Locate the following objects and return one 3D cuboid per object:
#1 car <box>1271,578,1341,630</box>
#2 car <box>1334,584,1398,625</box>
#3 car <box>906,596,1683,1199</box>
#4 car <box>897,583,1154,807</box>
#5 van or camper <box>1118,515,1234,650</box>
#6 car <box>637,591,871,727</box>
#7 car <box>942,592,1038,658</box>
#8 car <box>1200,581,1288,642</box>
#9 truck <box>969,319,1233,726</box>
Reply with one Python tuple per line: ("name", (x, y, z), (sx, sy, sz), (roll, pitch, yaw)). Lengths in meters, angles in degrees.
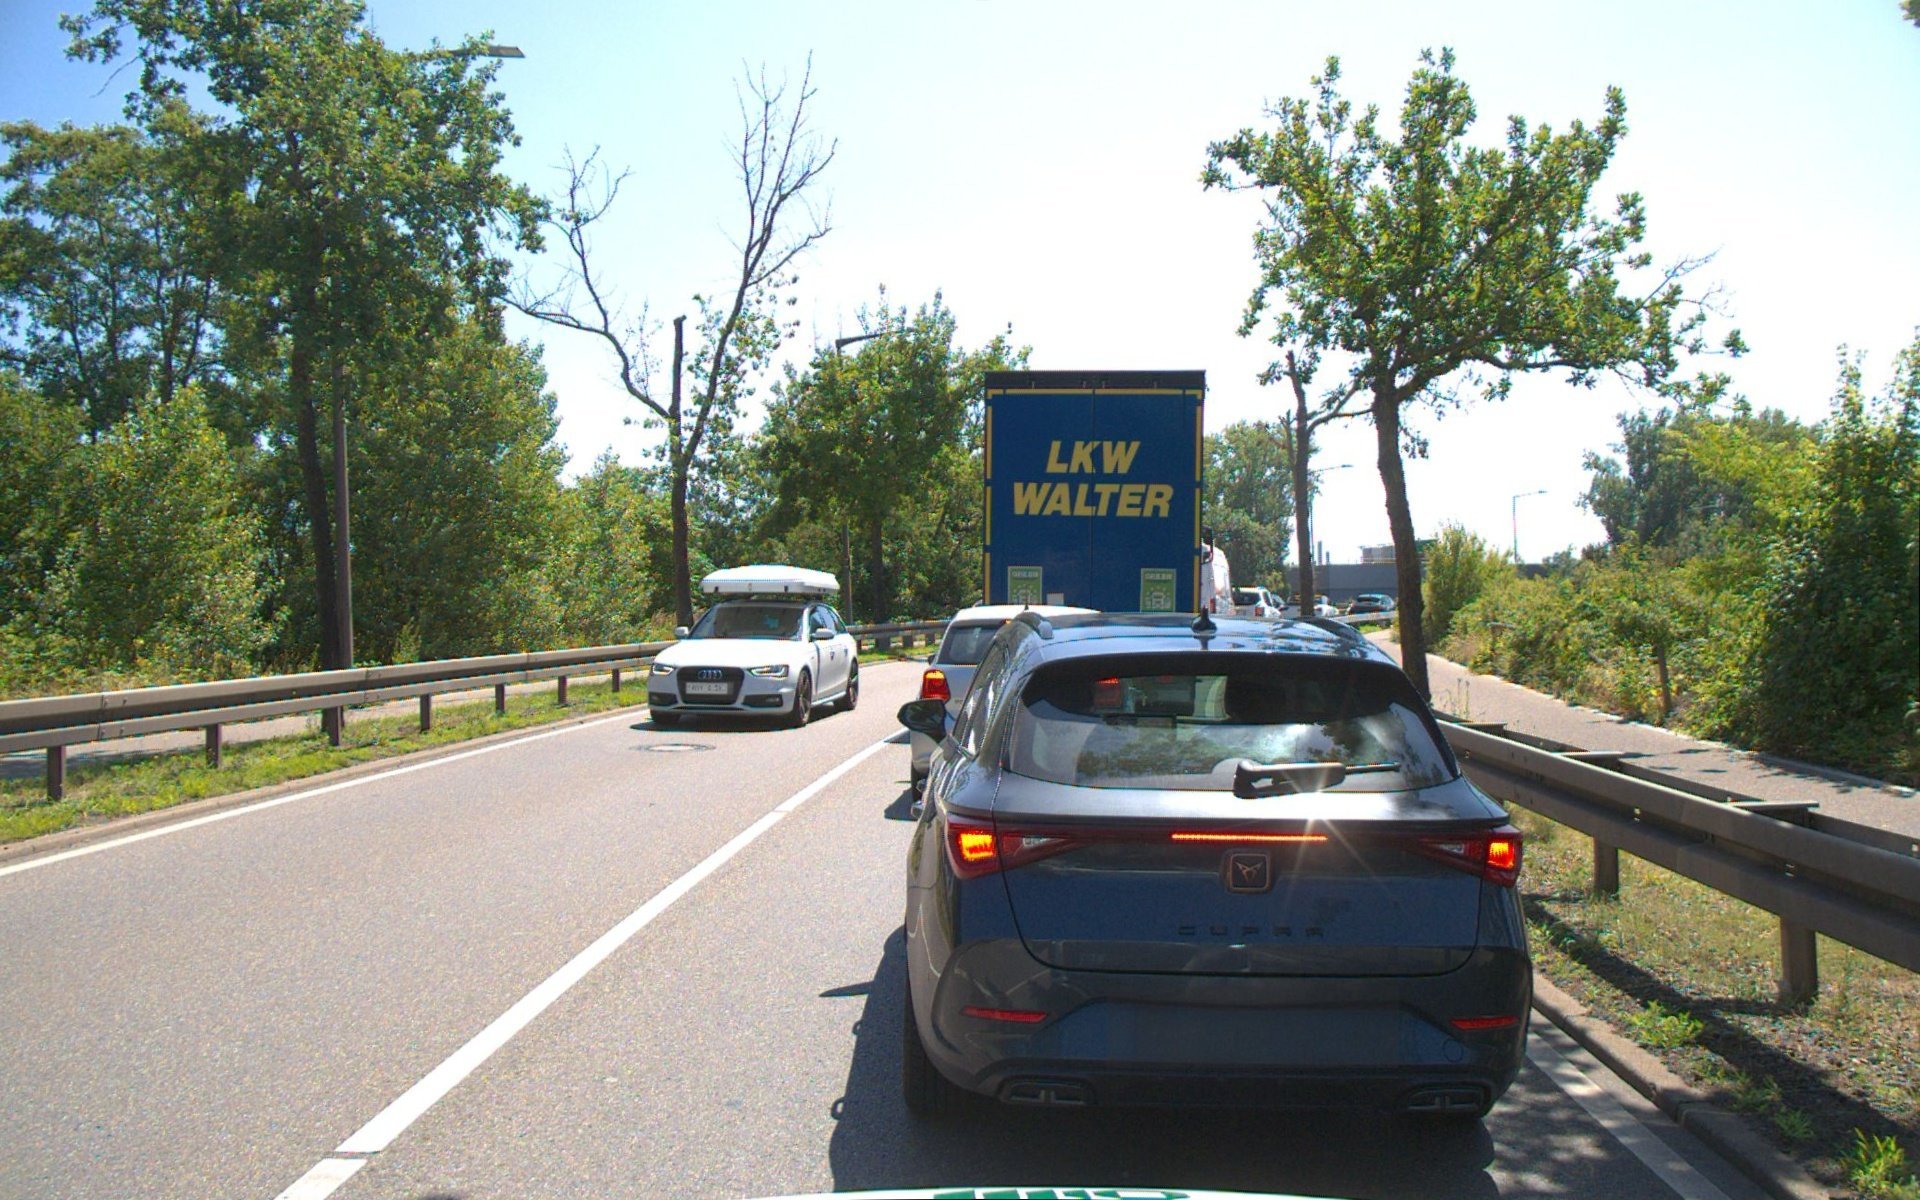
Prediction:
("car", (12.947, 0.155, 61.747), (1.952, 1.840, 4.847), (1, 0, 19))
("car", (18.017, 0.191, 73.240), (1.953, 1.747, 4.866), (1, 0, 23))
("car", (0.731, 0.730, 5.603), (1.708, 1.457, 3.879), (1, 0, 0))
("car", (0.493, 0.658, 13.513), (1.772, 1.534, 4.000), (1, 0, 1))
("van or camper", (5.422, -0.394, 40.762), (2.413, 3.051, 6.091), (1, 0, 11))
("car", (-2.380, 0.644, 20.335), (1.780, 1.446, 4.470), (1, 0, 7))
("car", (0.771, 0.550, 38.727), (1.722, 1.420, 4.409), (1, 0, 8))
("car", (8.678, 0.327, 50.278), (1.952, 1.742, 4.622), (1, 0, 19))
("truck", (2.607, -0.885, 26.904), (2.887, 4.526, 16.810), (1, 0, 7))
